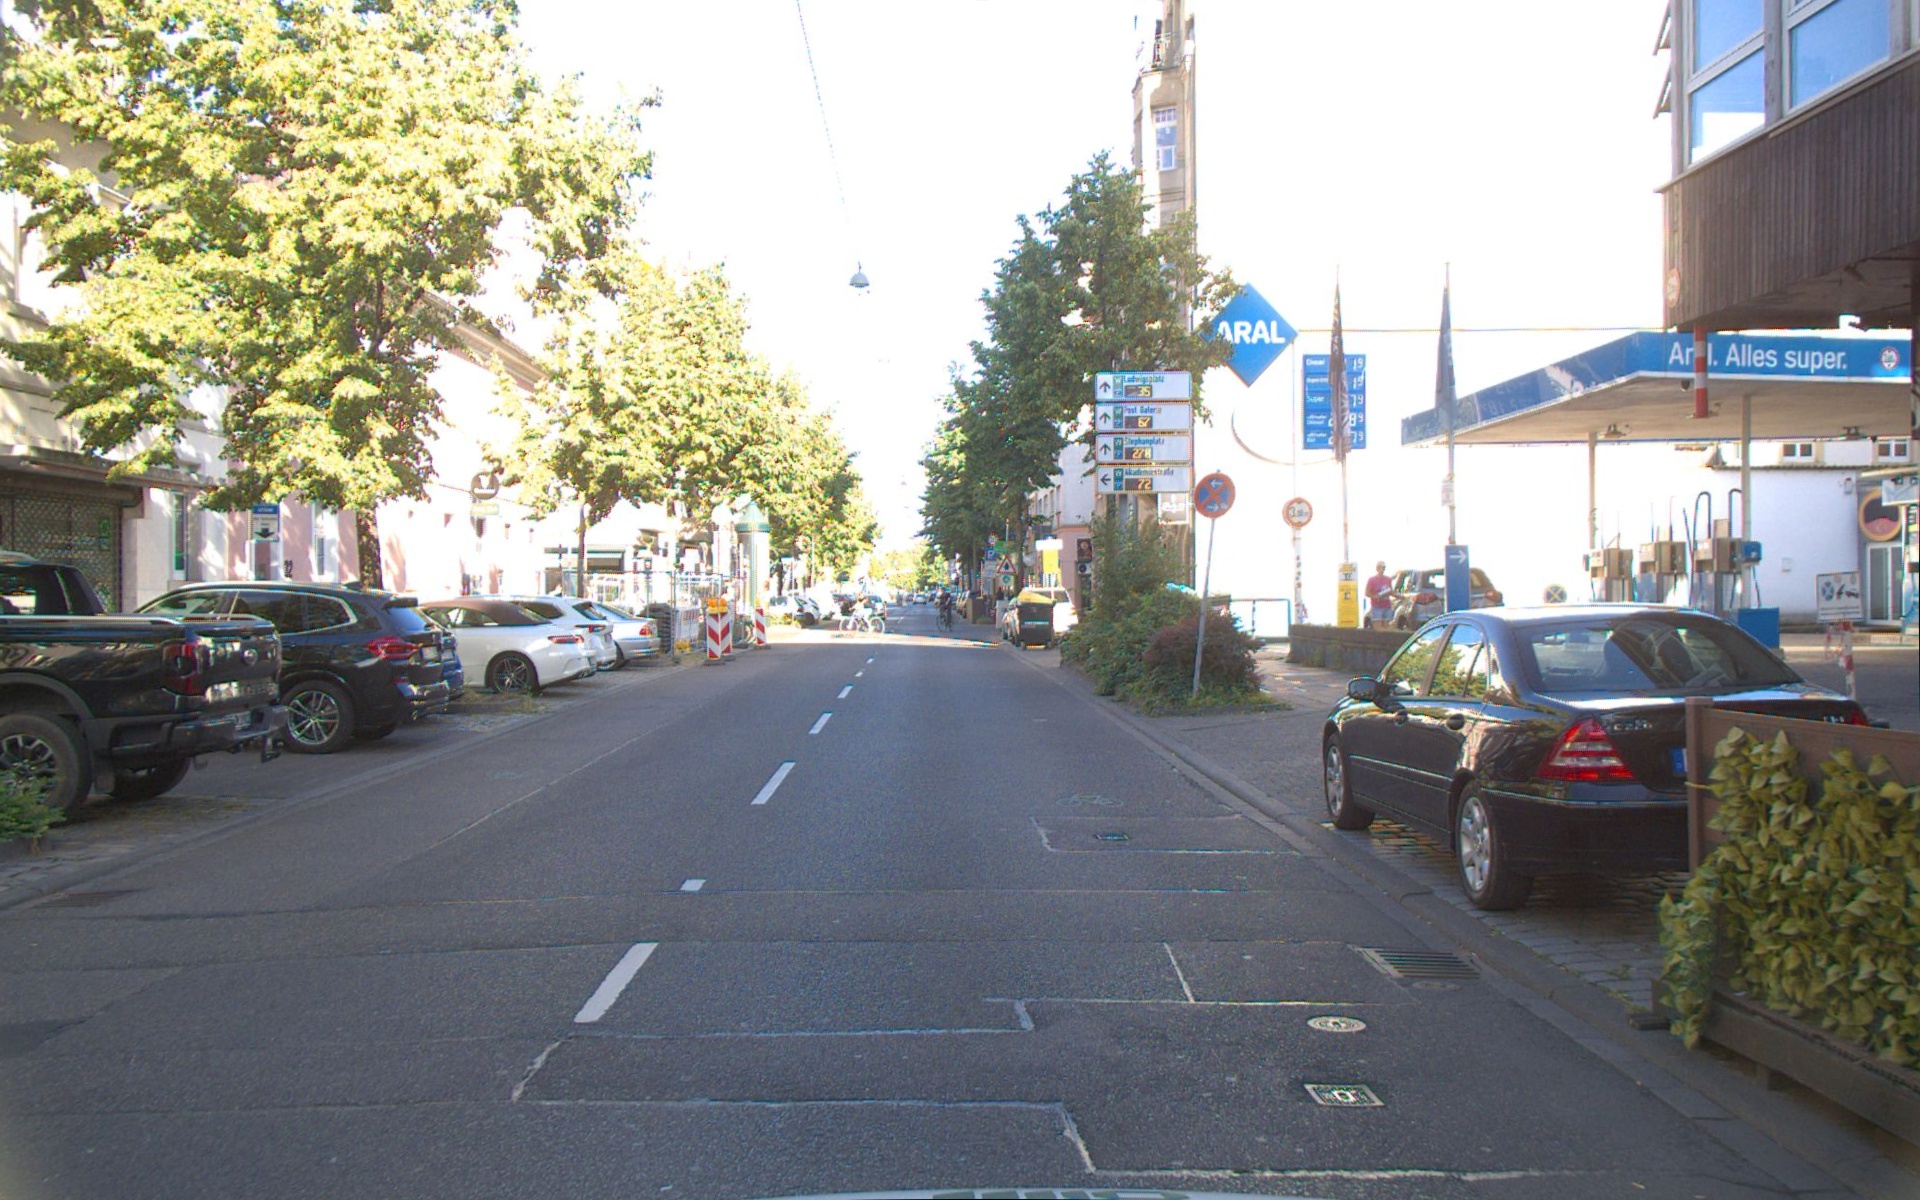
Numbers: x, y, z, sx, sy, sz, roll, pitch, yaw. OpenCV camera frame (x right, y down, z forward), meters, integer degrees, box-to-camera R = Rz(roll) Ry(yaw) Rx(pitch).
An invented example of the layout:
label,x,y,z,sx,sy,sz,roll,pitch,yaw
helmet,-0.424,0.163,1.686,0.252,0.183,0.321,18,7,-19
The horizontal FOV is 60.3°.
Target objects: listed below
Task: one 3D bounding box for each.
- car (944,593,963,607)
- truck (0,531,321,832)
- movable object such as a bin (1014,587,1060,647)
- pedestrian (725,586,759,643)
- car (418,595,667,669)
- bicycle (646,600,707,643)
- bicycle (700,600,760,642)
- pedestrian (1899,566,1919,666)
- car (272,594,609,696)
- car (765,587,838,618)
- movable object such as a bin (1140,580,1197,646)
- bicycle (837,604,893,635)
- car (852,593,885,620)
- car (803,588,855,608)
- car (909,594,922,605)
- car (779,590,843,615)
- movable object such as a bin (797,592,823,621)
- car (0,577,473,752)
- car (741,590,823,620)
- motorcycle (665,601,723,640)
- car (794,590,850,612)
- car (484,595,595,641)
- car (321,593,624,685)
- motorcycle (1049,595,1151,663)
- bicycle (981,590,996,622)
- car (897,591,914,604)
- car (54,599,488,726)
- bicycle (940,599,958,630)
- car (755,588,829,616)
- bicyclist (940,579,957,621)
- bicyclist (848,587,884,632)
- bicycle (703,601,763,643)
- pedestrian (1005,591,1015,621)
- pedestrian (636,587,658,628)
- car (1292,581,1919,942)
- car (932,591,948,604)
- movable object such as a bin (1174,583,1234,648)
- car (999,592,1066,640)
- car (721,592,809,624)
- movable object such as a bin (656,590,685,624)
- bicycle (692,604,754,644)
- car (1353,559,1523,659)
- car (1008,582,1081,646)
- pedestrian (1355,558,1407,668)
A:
label,x,y,z,sx,sy,sz,roll,pitch,yaw
car,-0.725,0.003,182.181,1.953,1.534,3.998,0,0,-2
truck,-7.509,0.566,11.933,4.982,1.972,1.999,-1,0,-2
movable object such as a bin,2.093,0.461,45.036,1.118,1.589,1.460,-1,0,7
pedestrian,-6.786,0.440,51.561,0.785,1.737,0.758,0,0,-34
car,-8.307,0.631,33.211,4.588,1.437,1.806,0,0,-5
bicycle,-8.685,0.648,50.655,1.749,1.274,0.601,1,0,10
bicycle,-7.212,0.656,51.888,1.820,1.274,0.599,1,0,-9
pedestrian,17.469,0.286,29.607,0.801,1.772,0.818,0,0,-14
car,-7.821,0.660,25.256,4.588,1.491,1.806,0,0,-5
car,-9.129,0.122,95.677,3.903,1.724,2.001,-1,0,3
movable object such as a bin,5.354,0.326,42.558,1.181,1.656,1.497,-1,0,-3
bicycle,-3.369,0.695,59.004,1.938,1.077,0.758,-1,0,-41
car,-5.266,0.358,95.228,1.766,1.460,4.407,-3,0,-2
car,-10.232,-0.148,129.189,3.907,1.526,1.999,-1,0,-3
car,-5.982,-0.079,221.092,1.756,1.436,3.999,-1,1,-2
car,-9.383,0.131,104.488,3.907,1.526,1.999,-1,0,-3
movable object such as a bin,-8.110,0.334,89.469,1.307,1.504,1.479,-1,0,-2
car,-7.640,0.631,17.207,4.584,1.723,1.808,0,0,0
car,-8.868,0.261,82.770,3.907,1.414,1.999,-1,0,-3
motorcycle,-8.660,0.653,53.884,1.820,1.251,0.754,0,0,-13
car,-9.882,0.042,118.427,3.907,1.526,1.999,-1,0,-3
car,-16.210,0.692,63.733,3.933,1.639,1.986,-1,0,-23
car,-8.093,0.627,27.810,4.588,1.491,1.806,0,0,-5
motorcycle,2.938,0.592,34.722,1.944,1.353,0.908,-1,0,-14
bicycle,1.400,0.286,81.186,0.549,1.465,1.628,-6,1,-1
car,-6.016,-0.286,181.766,1.786,1.415,4.299,-3,0,-2
car,-8.380,0.736,20.402,4.584,1.489,1.808,0,0,0
bicycle,-0.475,0.602,68.408,0.704,1.241,2.035,-1,0,-1
car,-9.412,0.095,92.869,3.903,1.482,1.869,-1,0,3
bicyclist,-0.476,-0.015,68.410,0.704,1.722,1.157,-1,0,-1
bicyclist,-3.353,0.321,59.002,1.031,1.587,0.758,-1,0,-40
bicycle,-6.981,0.686,50.880,1.820,1.274,0.599,1,0,-9
pedestrian,2.765,0.323,91.486,0.535,1.678,0.664,-1,0,-1
pedestrian,-13.027,0.305,68.778,0.755,1.671,0.690,-1,0,0
car,3.338,0.661,9.266,1.862,1.436,4.645,-2,0,-2
car,-2.460,-0.272,201.824,1.953,1.534,3.998,0,0,-2
movable object such as a bin,6.078,0.374,41.210,1.245,1.557,1.176,-1,0,-3
car,2.352,0.503,54.681,1.786,1.415,4.299,-3,0,-2
car,-9.056,0.357,76.977,3.907,1.414,1.999,-1,0,-3
movable object such as a bin,-13.037,0.306,74.435,1.117,1.511,1.235,-1,0,-4
bicycle,-7.191,0.722,50.201,1.820,1.191,0.599,1,0,-9
car,8.675,0.144,30.417,1.862,1.677,4.293,-1,0,0
car,2.462,0.389,49.364,1.785,1.708,4.600,-3,0,-1
pedestrian,7.353,0.218,28.919,0.693,1.882,0.688,-1,0,-2
